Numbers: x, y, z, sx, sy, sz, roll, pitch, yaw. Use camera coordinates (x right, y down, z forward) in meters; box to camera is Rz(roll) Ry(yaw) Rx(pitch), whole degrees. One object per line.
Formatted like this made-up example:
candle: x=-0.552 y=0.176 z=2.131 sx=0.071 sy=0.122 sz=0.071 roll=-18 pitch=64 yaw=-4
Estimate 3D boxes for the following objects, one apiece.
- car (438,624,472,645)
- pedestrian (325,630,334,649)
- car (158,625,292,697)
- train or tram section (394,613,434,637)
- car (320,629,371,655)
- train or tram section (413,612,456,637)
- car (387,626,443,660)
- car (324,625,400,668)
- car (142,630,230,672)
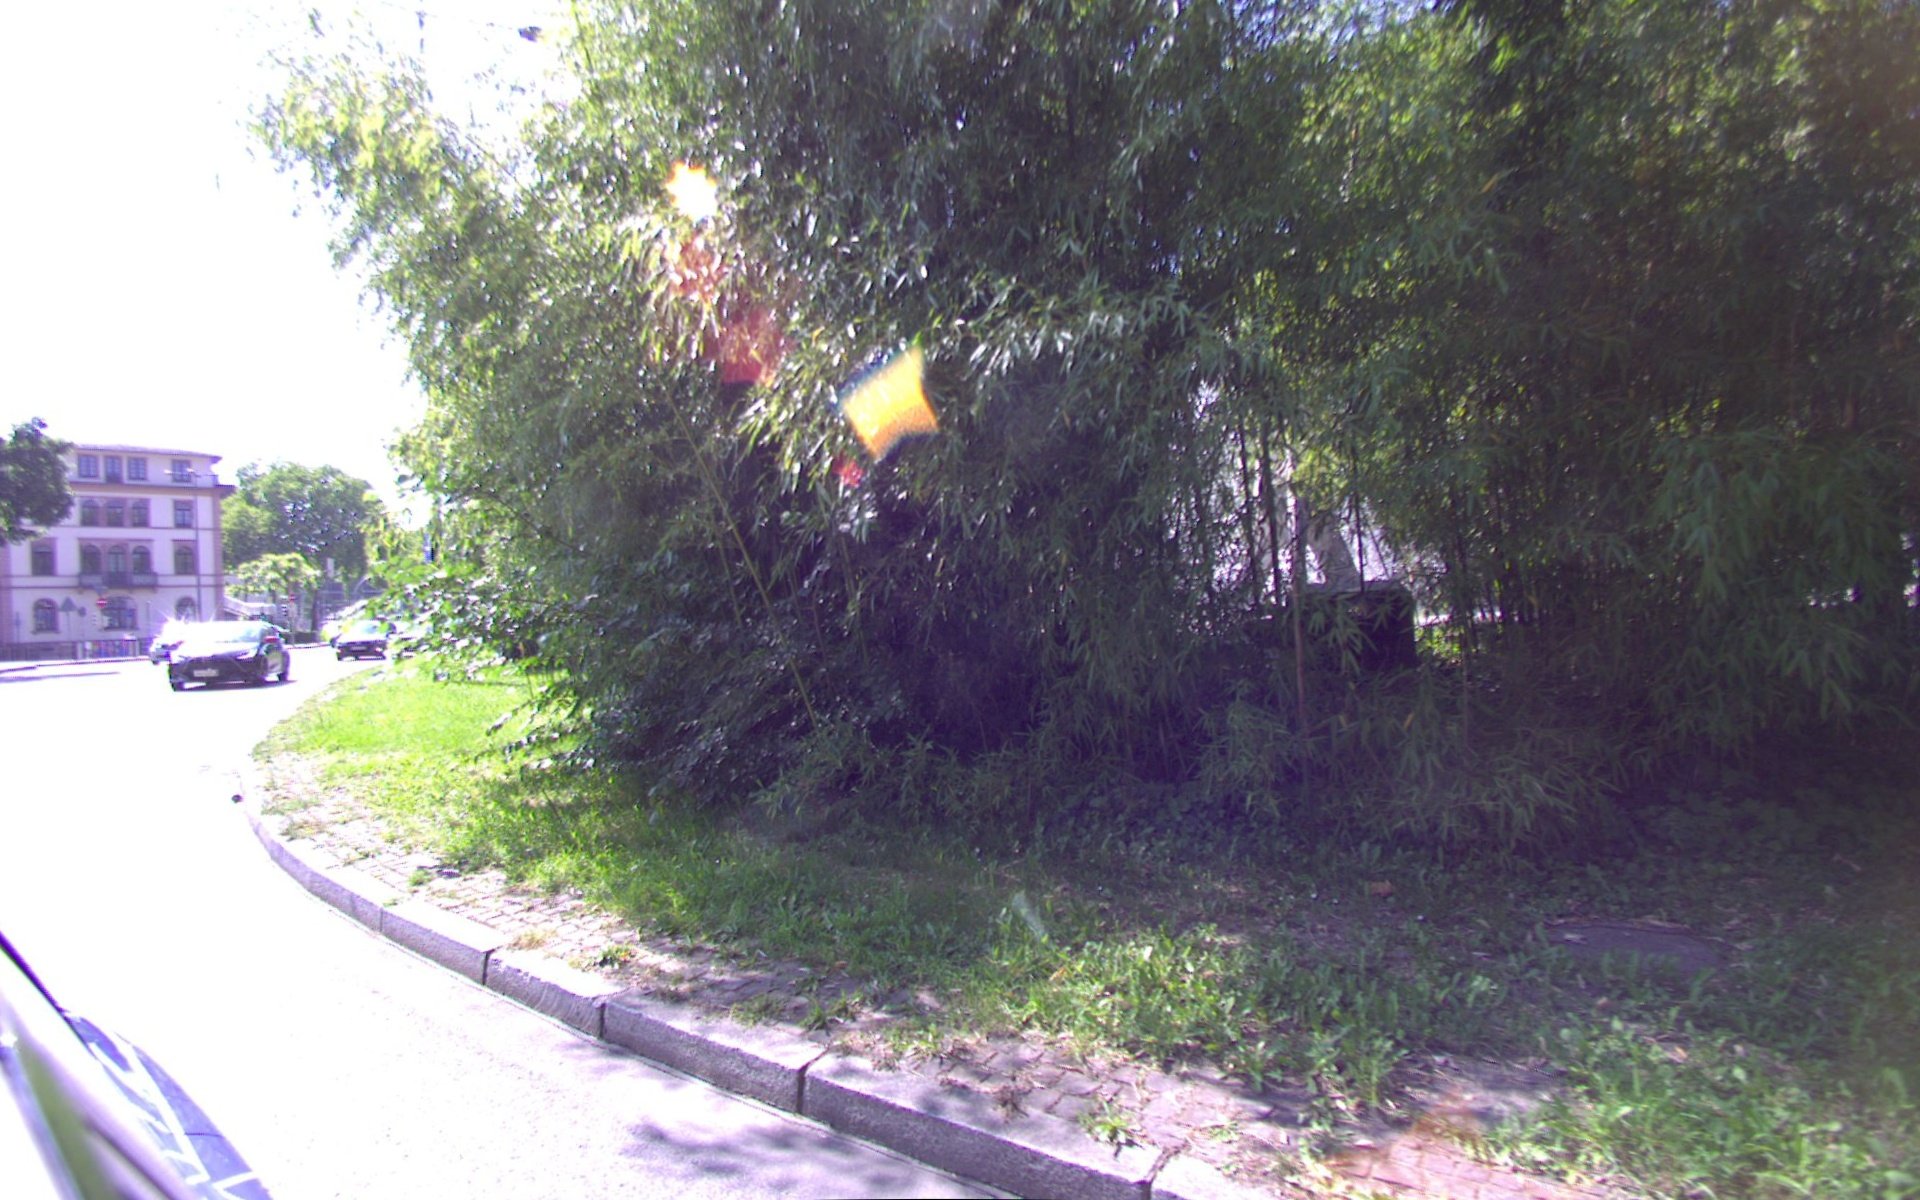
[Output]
car: x=-36.151 y=2.458 z=72.545 sx=1.761 sy=1.471 sz=4.101 roll=-1 pitch=-1 yaw=-20
pedestrian: x=-56.369 y=3.535 z=90.448 sx=0.527 sy=1.661 sz=0.675 roll=-2 pitch=-1 yaw=-43
car: x=-16.978 y=1.347 z=23.585 sx=1.761 sy=1.463 sz=4.294 roll=0 pitch=-1 yaw=-25
train or tram section: x=-82.461 y=3.825 z=152.681 sx=8.739 sy=3.292 sz=2.696 roll=-3 pitch=-1 yaw=44
car: x=-37.030 y=2.512 z=61.091 sx=1.761 sy=1.471 sz=4.101 roll=-1 pitch=-1 yaw=-19
train or tram section: x=-76.162 y=3.618 z=146.556 sx=8.739 sy=3.292 sz=2.696 roll=-3 pitch=-1 yaw=44
car: x=-25.891 y=2.011 z=48.158 sx=1.761 sy=1.481 sz=4.101 roll=-1 pitch=-1 yaw=-20
car: x=-22.710 y=1.717 z=38.571 sx=1.761 sy=1.504 sz=4.101 roll=-1 pitch=-1 yaw=-20
car: x=-30.525 y=1.985 z=40.029 sx=1.761 sy=1.524 sz=4.294 roll=0 pitch=-1 yaw=-23
